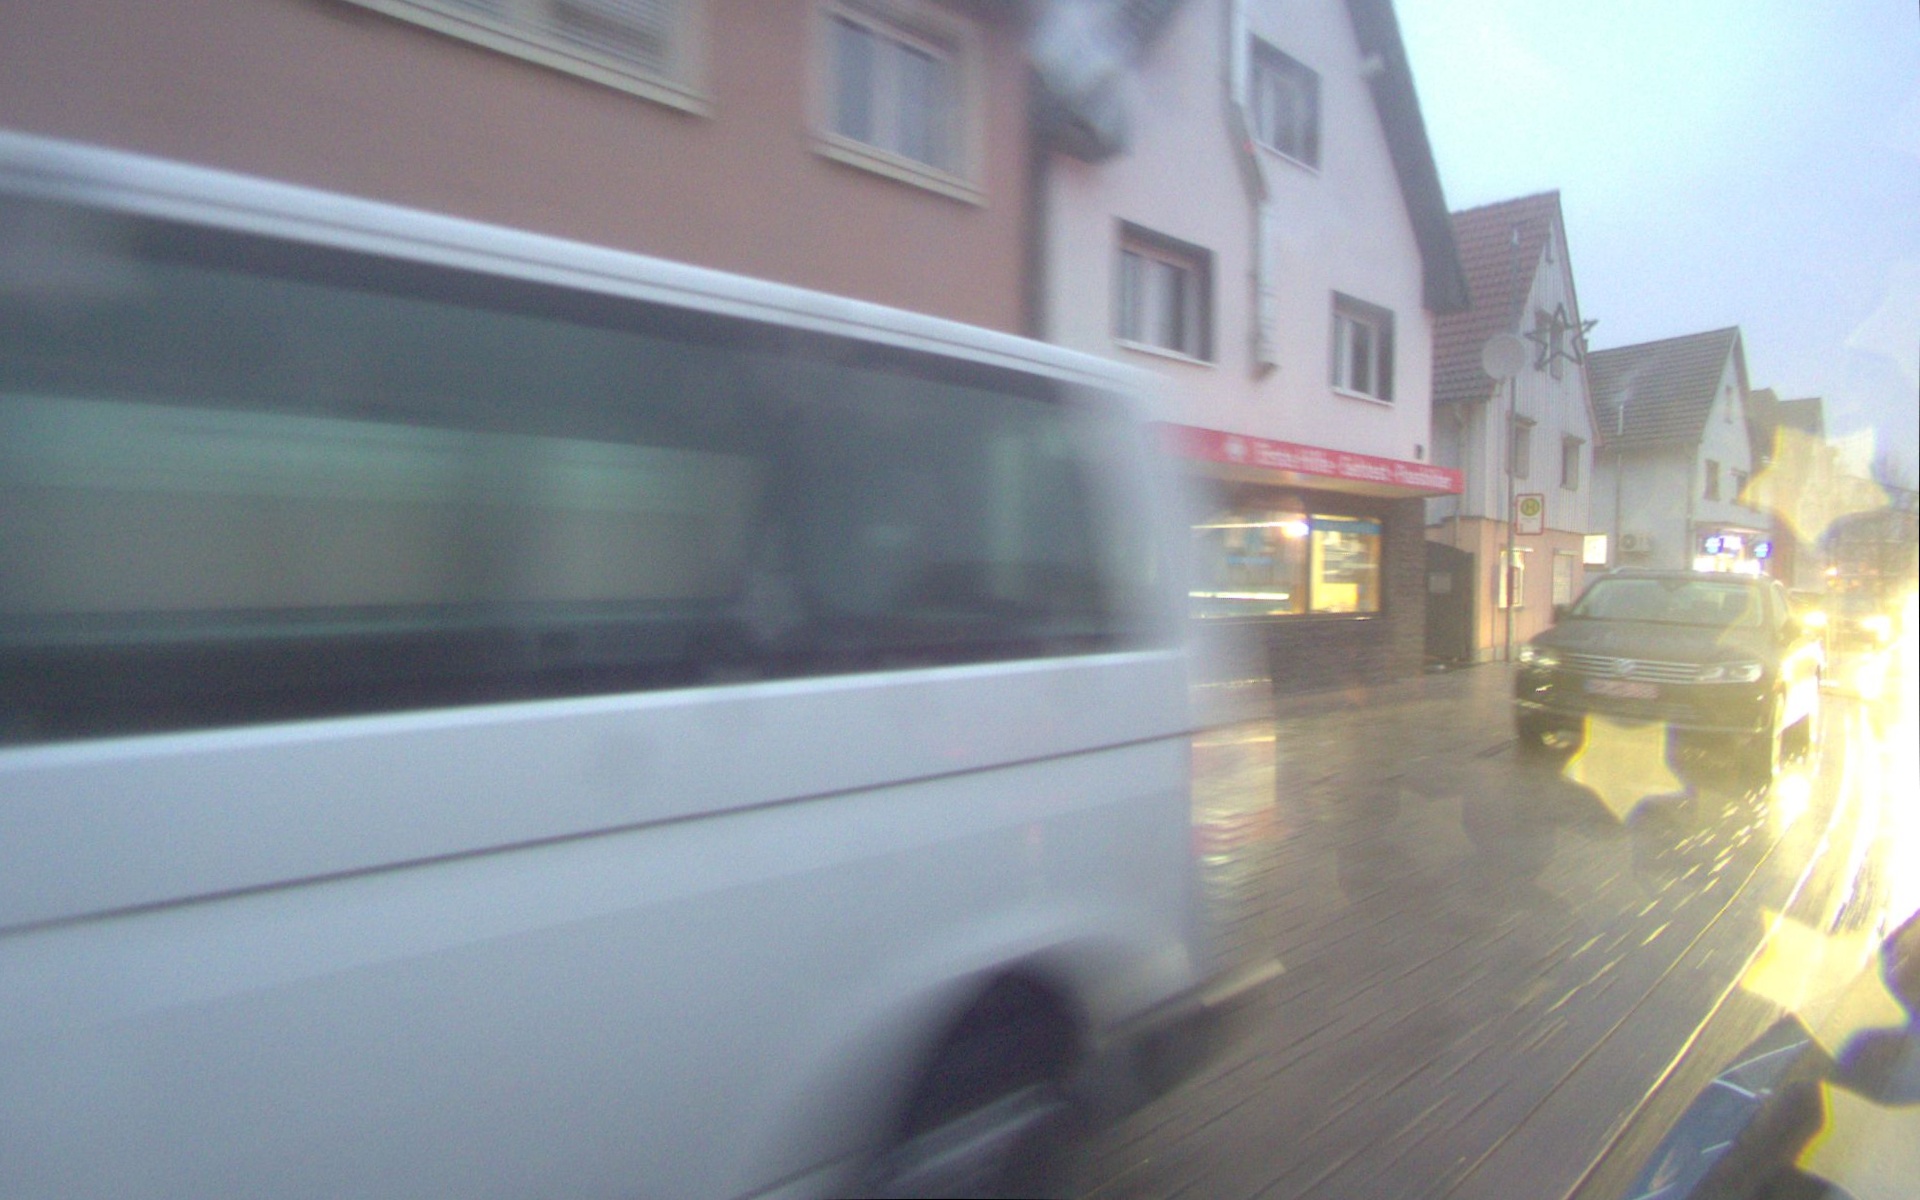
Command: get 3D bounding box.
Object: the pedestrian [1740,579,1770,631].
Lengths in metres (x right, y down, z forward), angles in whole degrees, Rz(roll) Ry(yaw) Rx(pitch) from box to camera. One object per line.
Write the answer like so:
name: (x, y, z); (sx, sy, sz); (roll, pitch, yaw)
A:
pedestrian: (27.325, 0.180, 34.786); (0.639, 1.742, 0.609); (2, 2, -39)

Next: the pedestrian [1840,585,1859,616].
pedestrian: (47.627, 0.001, 54.188); (0.711, 1.625, 0.655); (1, 1, -43)

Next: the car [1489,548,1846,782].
car: (6.856, 0.443, 9.598); (4.387, 1.681, 1.976); (0, 2, -45)

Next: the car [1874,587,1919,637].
car: (41.754, 0.517, 44.750); (1.745, 2.038, 3.747); (5, 3, 44)

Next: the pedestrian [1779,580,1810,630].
pedestrian: (31.067, 0.174, 37.683); (0.498, 1.819, 0.651); (2, 2, -34)

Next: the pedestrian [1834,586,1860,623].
pedestrian: (43.200, 0.219, 49.293); (0.818, 1.786, 1.043); (3, 2, 45)

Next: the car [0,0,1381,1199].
car: (-1.519, 0.303, 1.678); (4.763, 1.984, 1.978); (1, 2, -38)

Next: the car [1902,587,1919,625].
car: (53.462, 0.334, 56.170); (1.528, 2.038, 3.935); (3, 2, 45)

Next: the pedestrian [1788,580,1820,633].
pedestrian: (28.567, 0.217, 34.262); (0.460, 1.742, 0.650); (2, 2, -39)

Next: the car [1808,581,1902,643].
car: (28.752, 0.345, 32.457); (1.995, 1.806, 4.447); (3, 2, 44)
